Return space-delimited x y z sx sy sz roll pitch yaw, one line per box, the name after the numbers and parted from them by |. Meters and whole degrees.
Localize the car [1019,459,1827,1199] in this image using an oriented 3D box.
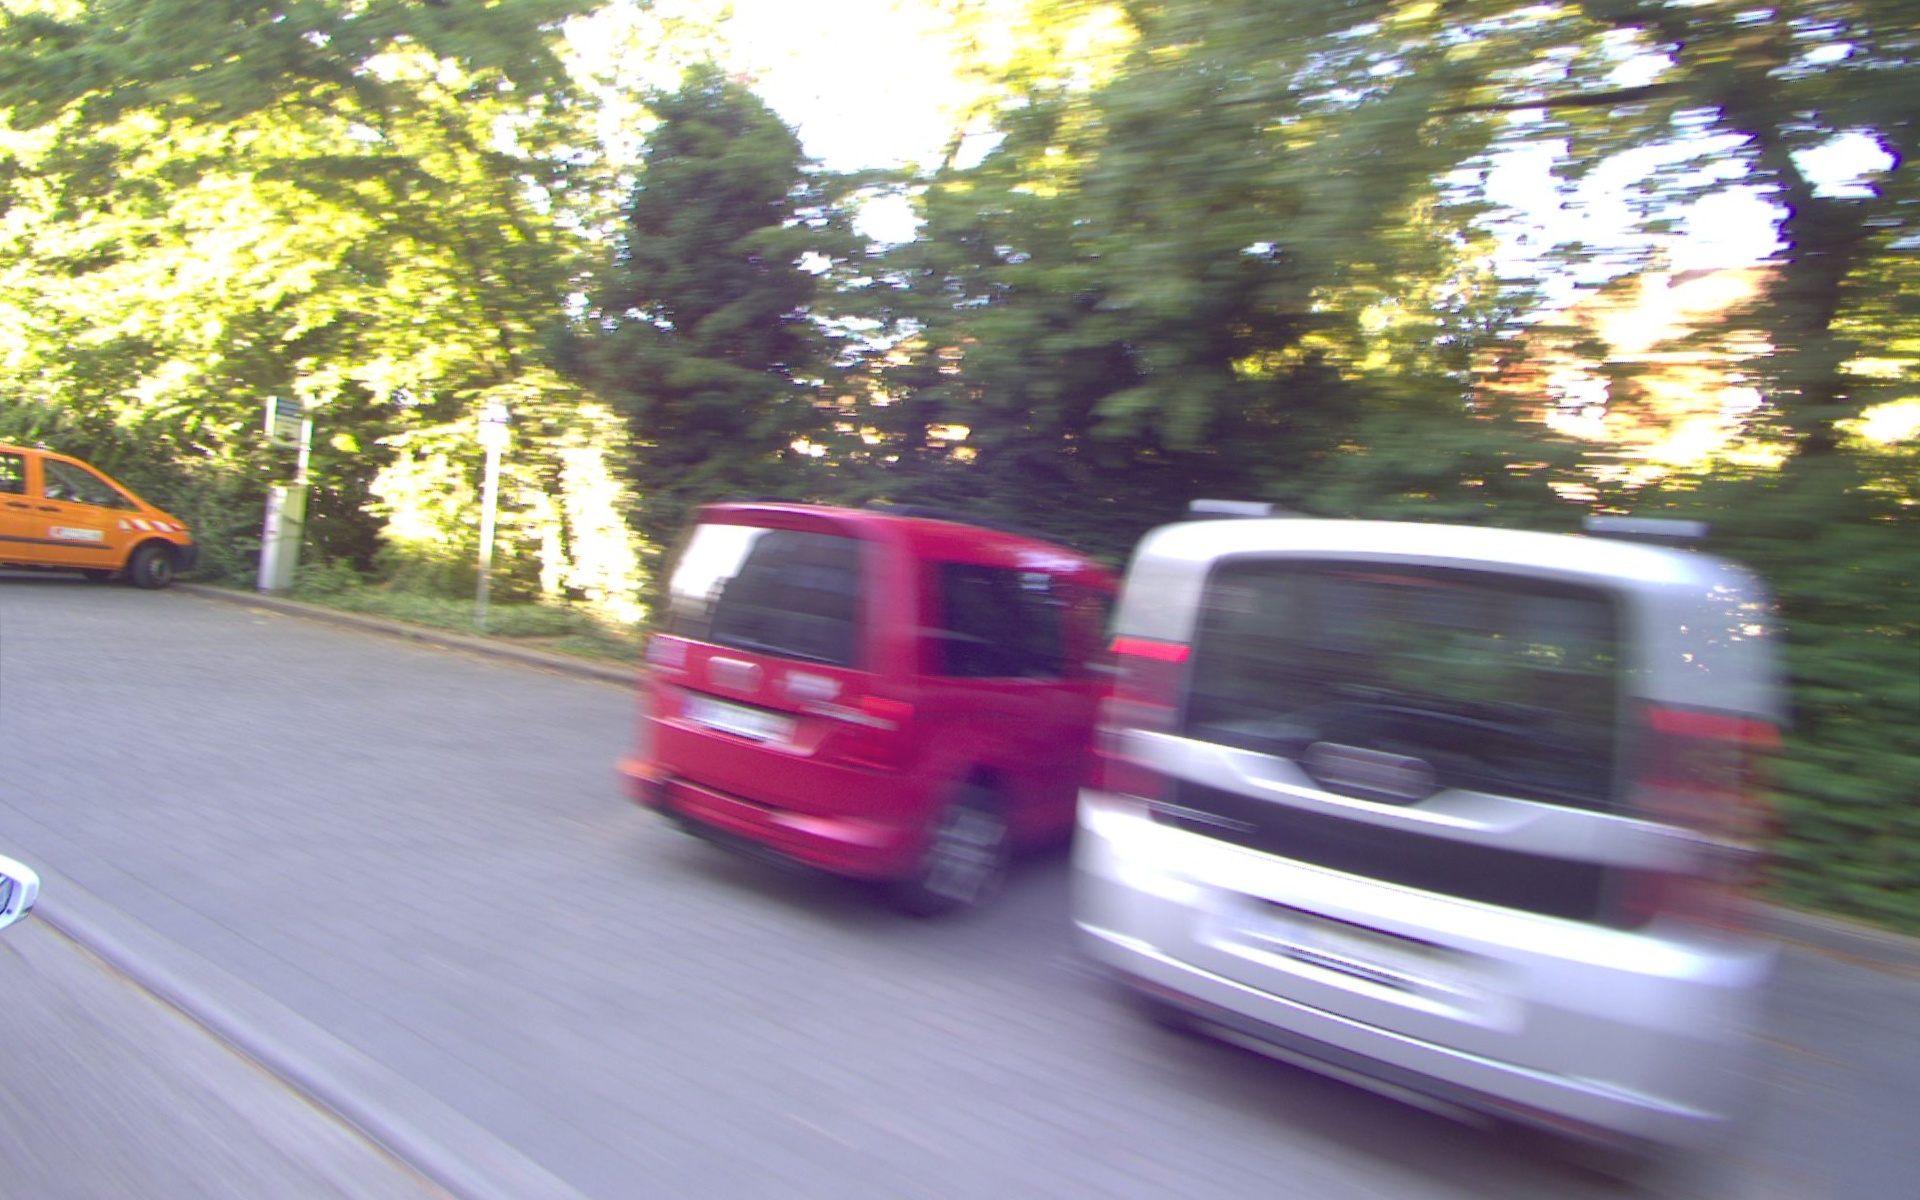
1.989 0.687 4.152 1.755 1.908 3.601 7 1 33 | car

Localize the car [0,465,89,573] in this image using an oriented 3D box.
-16.283 -1.423 15.902 1.651 1.653 3.398 7 2 30 | car

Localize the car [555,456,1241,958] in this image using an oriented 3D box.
-0.006 0.434 5.986 1.889 1.887 3.971 7 1 34 | car

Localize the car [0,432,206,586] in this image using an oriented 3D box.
-14.068 -1.403 14.370 2.044 2.024 4.802 7 2 26 | car
